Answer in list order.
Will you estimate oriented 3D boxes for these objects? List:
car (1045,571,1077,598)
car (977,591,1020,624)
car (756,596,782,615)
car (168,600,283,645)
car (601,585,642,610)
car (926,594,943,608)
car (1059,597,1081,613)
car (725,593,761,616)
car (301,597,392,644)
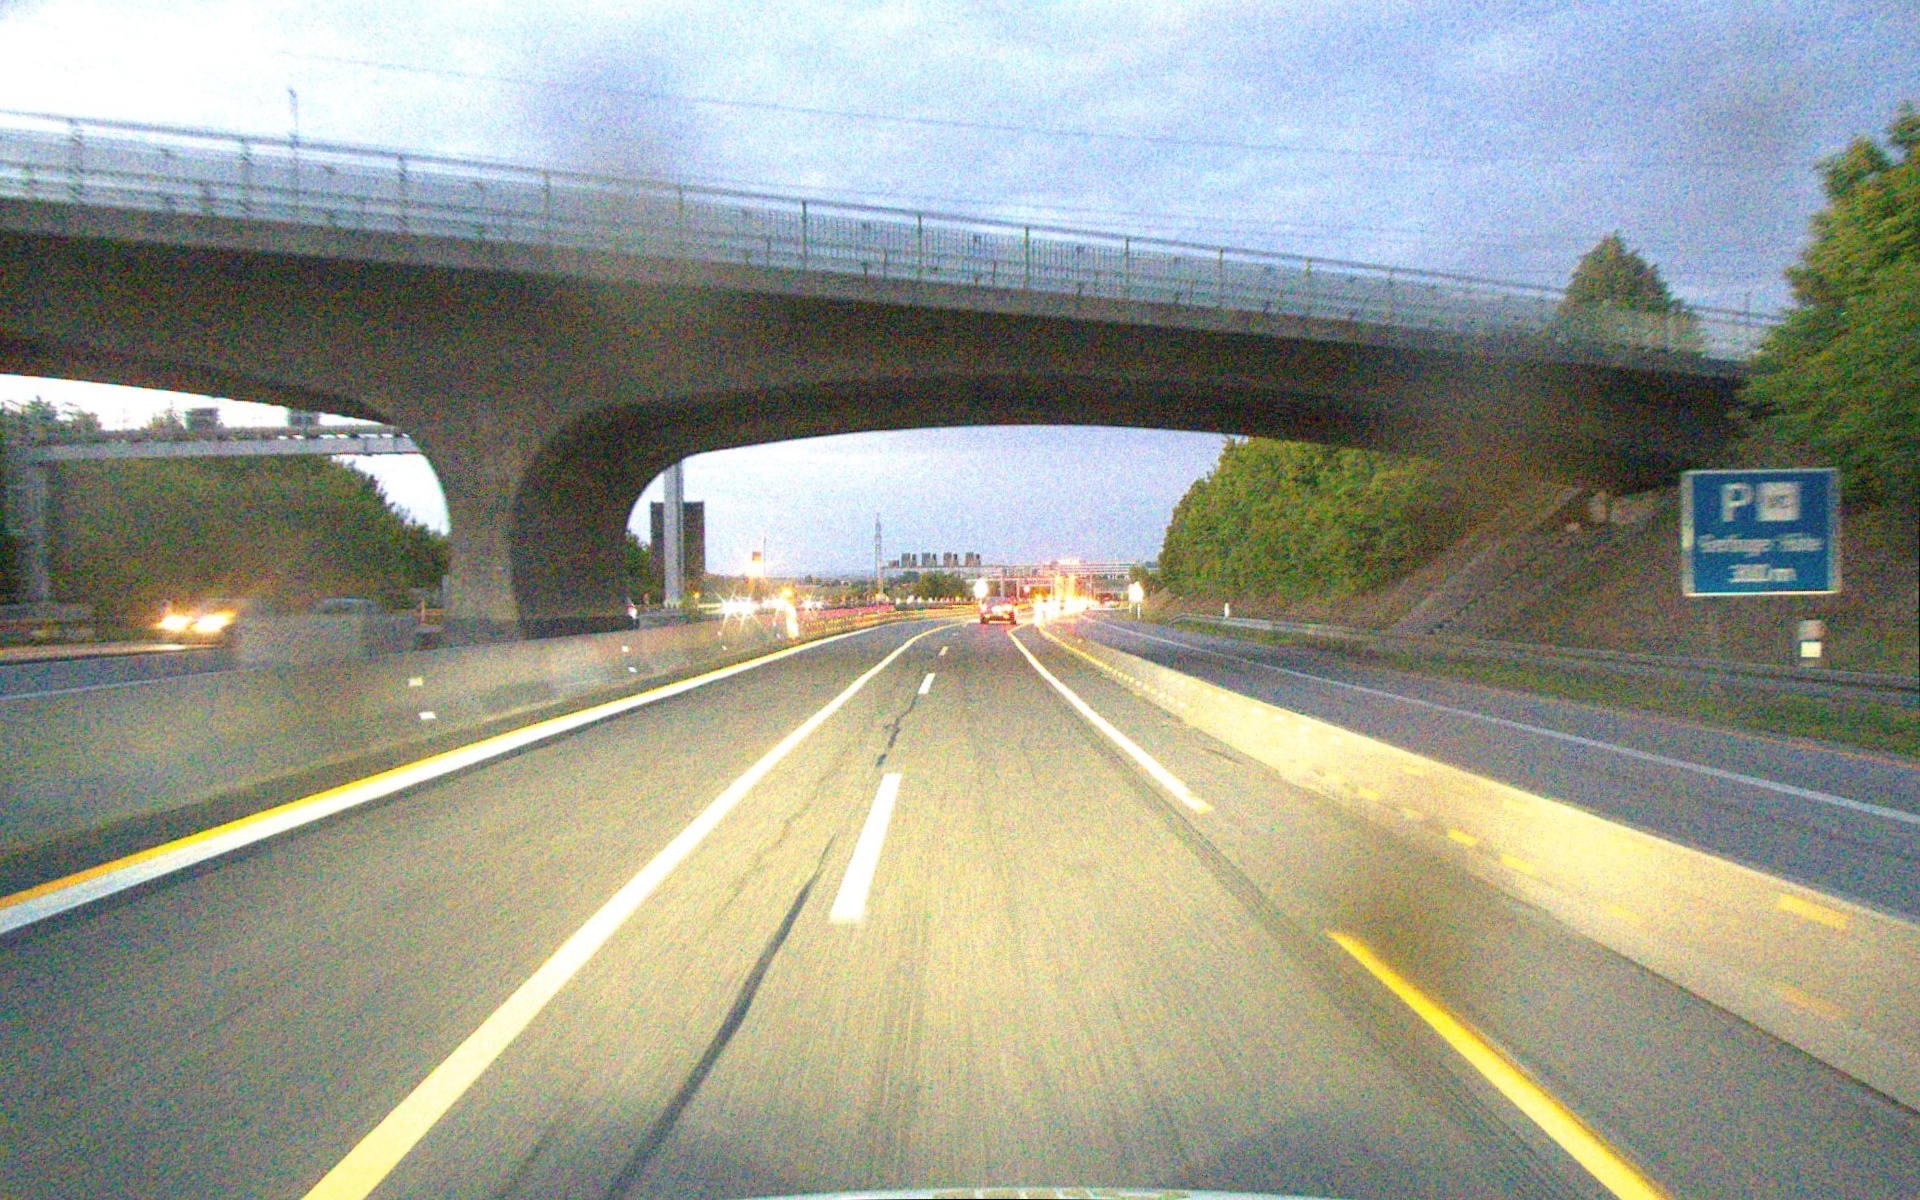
[{"bbox_3d":[13.327,-2.002,218.613,3.532,3.455,8.011,2,0,-2],"label":"car"},{"bbox_3d":[2.047,0.398,88.918,2.219,1.649,4.000,2,0,0],"label":"car"},{"bbox_3d":[-18.601,0.552,161.227,1.867,1.744,3.945,2,0,4],"label":"car"},{"bbox_3d":[-23.500,0.685,53.071,1.953,1.346,3.999,0,0,-2],"label":"car"},{"bbox_3d":[-21.286,-0.146,104.137,1.667,1.481,3.931,2,0,2],"label":"car"},{"bbox_3d":[-3.513,0.155,227.631,1.951,1.744,4.002,2,0,5],"label":"car"},{"bbox_3d":[10.373,0.491,156.385,1.931,1.462,4.001,2,0,2],"label":"car"},{"bbox_3d":[-16.477,0.365,125.848,1.792,1.690,4.843,2,0,3],"label":"car"},{"bbox_3d":[-19.820,0.650,53.554,1.593,1.431,3.520,2,0,0],"label":"car"}]
